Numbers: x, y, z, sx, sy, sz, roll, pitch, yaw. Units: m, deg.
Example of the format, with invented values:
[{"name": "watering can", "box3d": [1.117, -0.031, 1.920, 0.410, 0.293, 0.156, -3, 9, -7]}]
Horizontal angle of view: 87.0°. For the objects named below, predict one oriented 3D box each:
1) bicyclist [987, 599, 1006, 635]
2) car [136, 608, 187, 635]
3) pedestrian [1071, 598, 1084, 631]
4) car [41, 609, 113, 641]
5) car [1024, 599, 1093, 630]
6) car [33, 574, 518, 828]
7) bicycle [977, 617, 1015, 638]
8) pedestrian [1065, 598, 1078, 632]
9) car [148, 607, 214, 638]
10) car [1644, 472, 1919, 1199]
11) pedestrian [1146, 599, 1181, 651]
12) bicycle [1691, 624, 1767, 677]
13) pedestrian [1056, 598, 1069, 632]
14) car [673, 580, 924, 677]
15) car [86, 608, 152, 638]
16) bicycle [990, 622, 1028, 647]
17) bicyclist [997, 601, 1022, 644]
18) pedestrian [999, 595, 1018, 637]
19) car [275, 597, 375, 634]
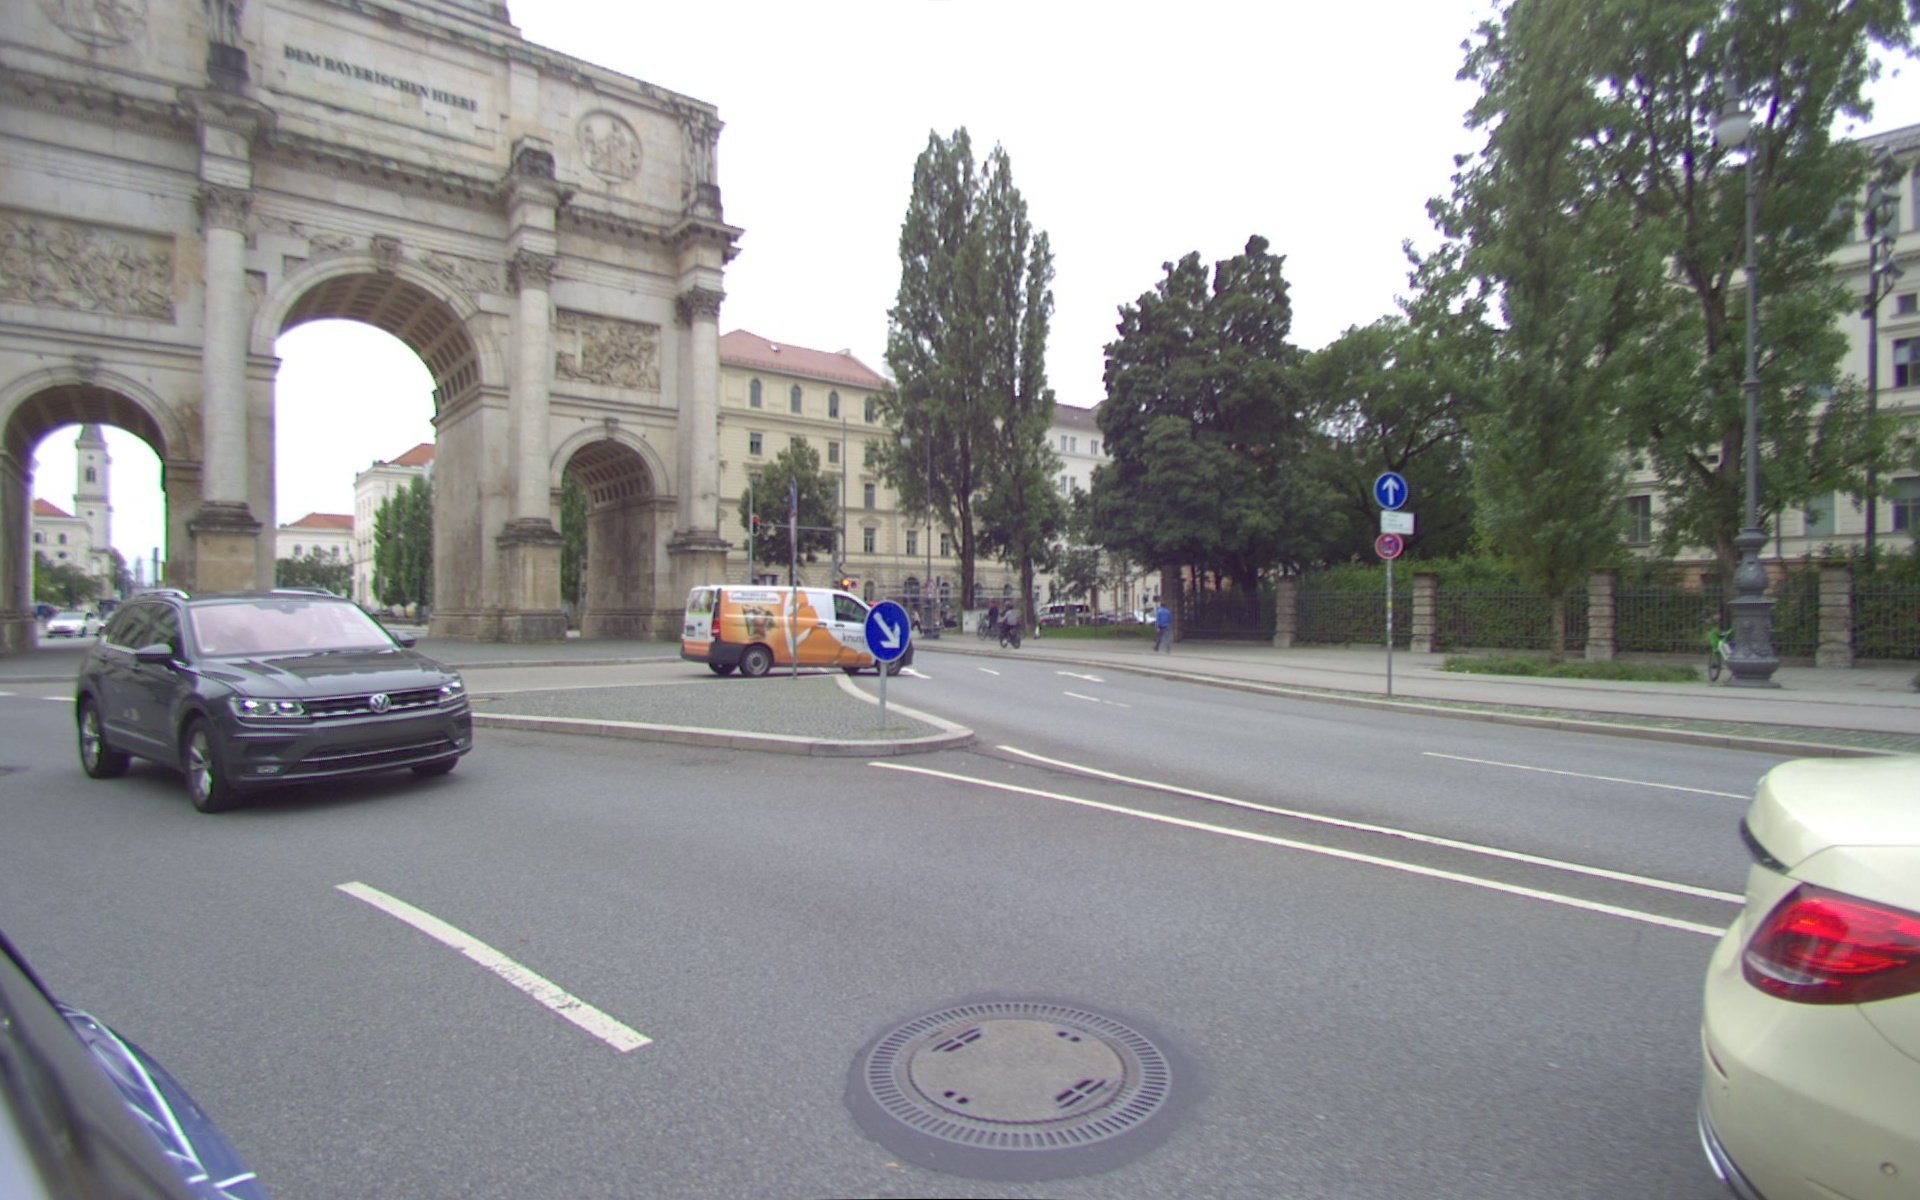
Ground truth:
[{"name": "bicyclist", "box3d": [1.745, 0.805, 48.036, 0.850, 1.722, 0.642, 0, -1, 9]}, {"name": "car", "box3d": [-53.759, 1.437, 68.212, 1.757, 1.763, 4.334, 0, -1, -25]}, {"name": "pedestrian", "box3d": [7.213, 0.900, 62.104, 0.594, 2.029, 0.526, -1, -1, 41]}, {"name": "car", "box3d": [-49.538, 1.377, 56.875, 1.757, 1.763, 4.334, 0, -1, -23]}, {"name": "car", "box3d": [6.723, 0.979, 69.064, 4.441, 2.029, 2.005, 0, -1, -36]}, {"name": "car", "box3d": [-5.948, 0.659, 8.639, 4.400, 1.636, 1.932, -1, 1, 35]}, {"name": "bicycle", "box3d": [1.729, 1.292, 48.030, 1.741, 0.981, 0.642, 0, -1, 8]}, {"name": "pedestrian", "box3d": [6.787, 0.906, 61.719, 0.594, 2.029, 0.526, -1, -1, 41]}, {"name": "car", "box3d": [-47.553, 1.352, 61.893, 1.758, 1.763, 4.333, 0, -1, -17]}, {"name": "car", "box3d": [3.528, 0.563, 0.817, 4.690, 1.586, 1.894, 0, 1, 44]}, {"name": "pedestrian", "box3d": [7.059, 0.860, 35.081, 0.742, 1.799, 0.918, 0, -1, -34]}, {"name": "bicycle", "box3d": [16.475, 1.065, 21.719, 0.630, 1.072, 1.731, 0, -1, 13]}, {"name": "pedestrian", "box3d": [6.273, 0.912, 62.103, 0.594, 2.029, 0.526, -1, -1, 41]}, {"name": "car", "box3d": [-3.416, 0.600, 21.789, 4.906, 1.869, 2.011, 2, 0, -34]}, {"name": "car", "box3d": [-51.442, 1.398, 61.975, 1.757, 1.763, 4.334, 0, -1, -20]}, {"name": "bicycle", "box3d": [2.009, 1.418, 41.480, 0.633, 0.981, 1.766, 0, -1, -34]}, {"name": "bicyclist", "box3d": [2.036, 0.925, 41.443, 0.633, 1.722, 0.862, 0, -1, -34]}, {"name": "pedestrian", "box3d": [2.321, 0.769, 48.810, 0.749, 2.029, 0.790, -1, -1, 16]}, {"name": "car", "box3d": [-33.236, 0.771, 52.987, 4.243, 1.871, 1.895, 0, 0, -39]}]
